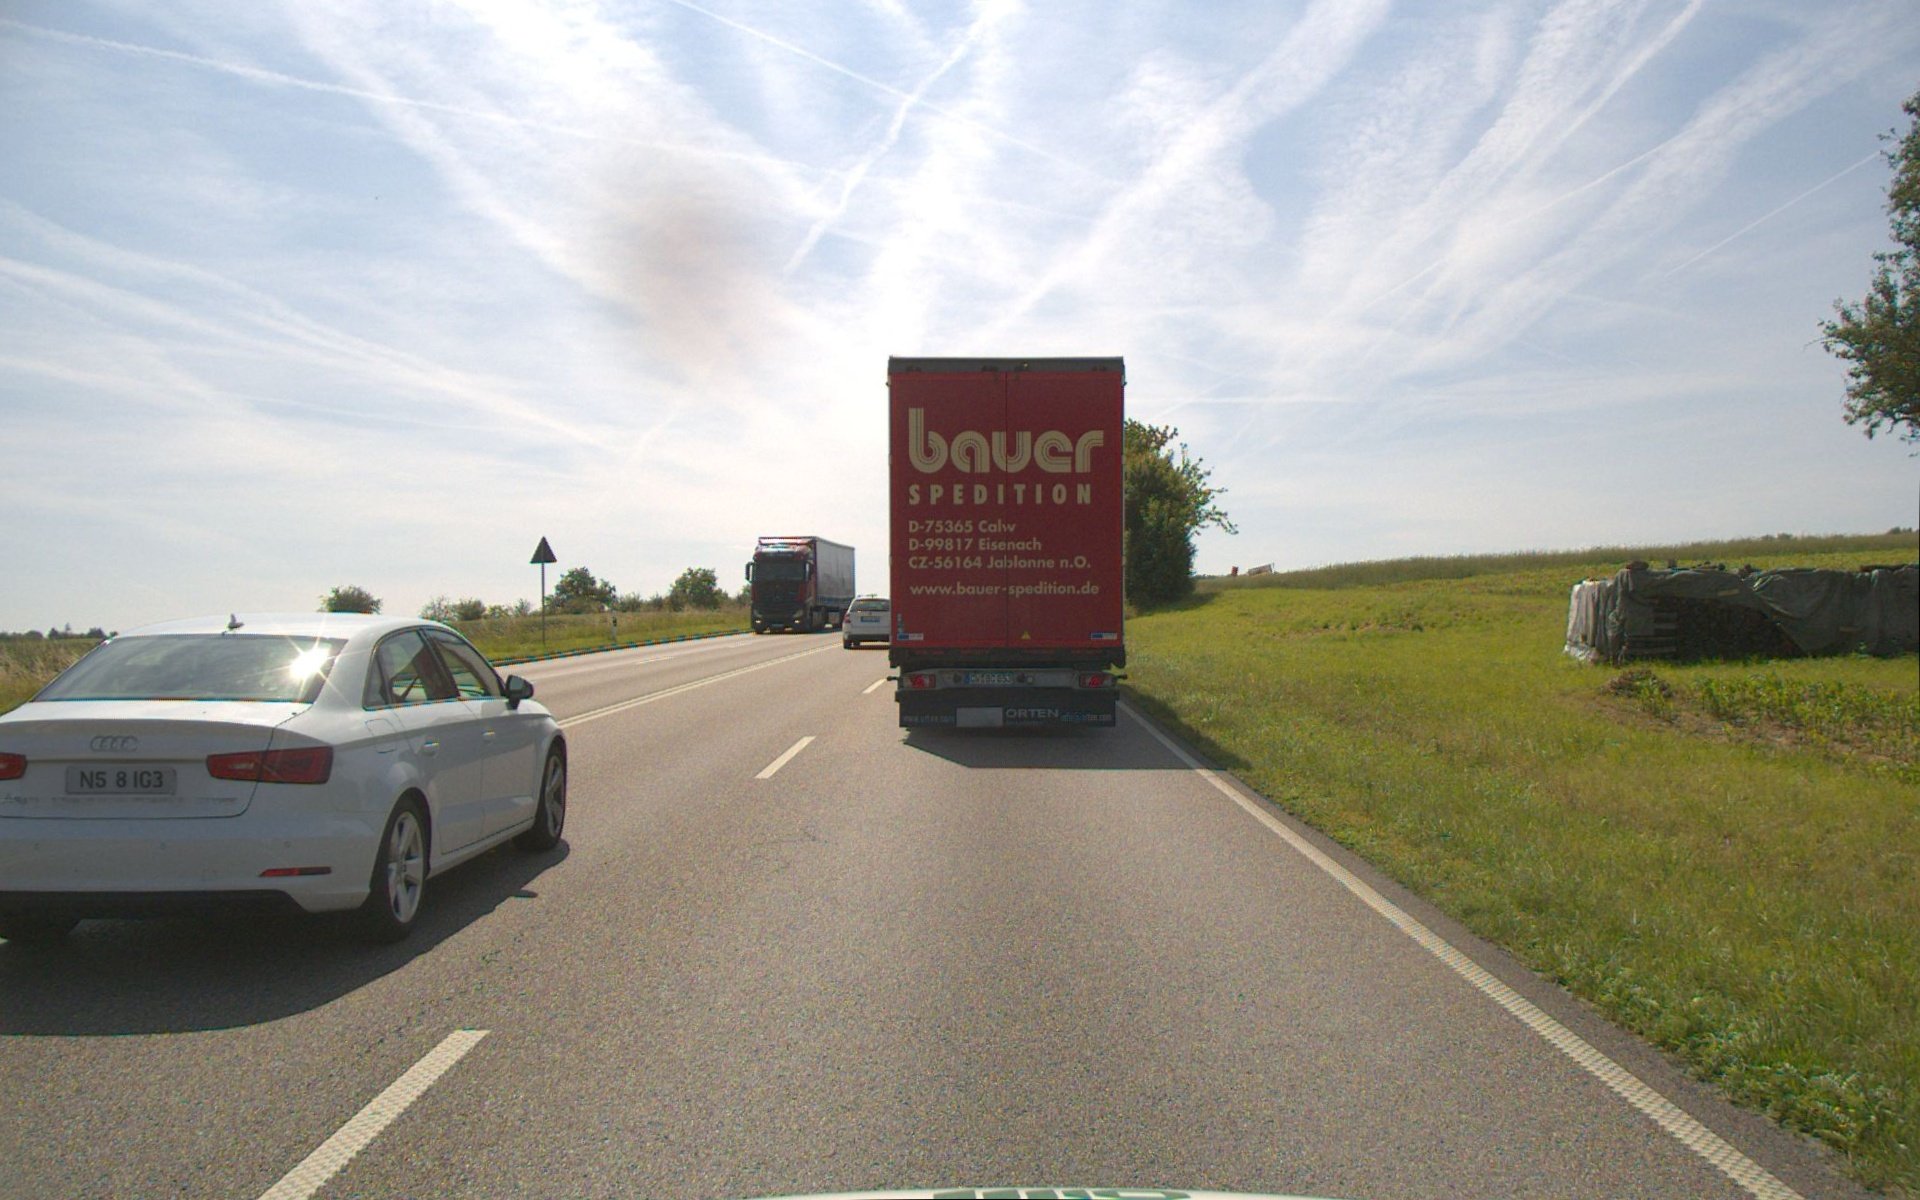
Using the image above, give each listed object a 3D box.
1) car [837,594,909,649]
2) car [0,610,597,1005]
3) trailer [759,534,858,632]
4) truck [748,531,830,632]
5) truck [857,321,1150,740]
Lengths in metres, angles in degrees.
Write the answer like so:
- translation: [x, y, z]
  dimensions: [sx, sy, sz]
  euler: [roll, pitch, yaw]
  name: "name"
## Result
- translation: [-2.511, 0.592, 48.596]
  dimensions: [1.783, 1.498, 4.789]
  euler: [1, 0, 0]
  name: "car"
- translation: [-3.172, 0.770, 8.337]
  dimensions: [1.668, 1.400, 4.603]
  euler: [0, 0, 0]
  name: "car"
- translation: [-7.011, -0.767, 78.730]
  dimensions: [2.492, 4.173, 13.590]
  euler: [-1, 0, 4]
  name: "trailer"
- translation: [-7.420, -0.772, 72.361]
  dimensions: [2.562, 4.173, 6.090]
  euler: [-1, 0, 3]
  name: "truck"
- translation: [0.527, -0.697, 25.343]
  dimensions: [2.945, 4.253, 16.714]
  euler: [1, 0, 1]
  name: "truck"
